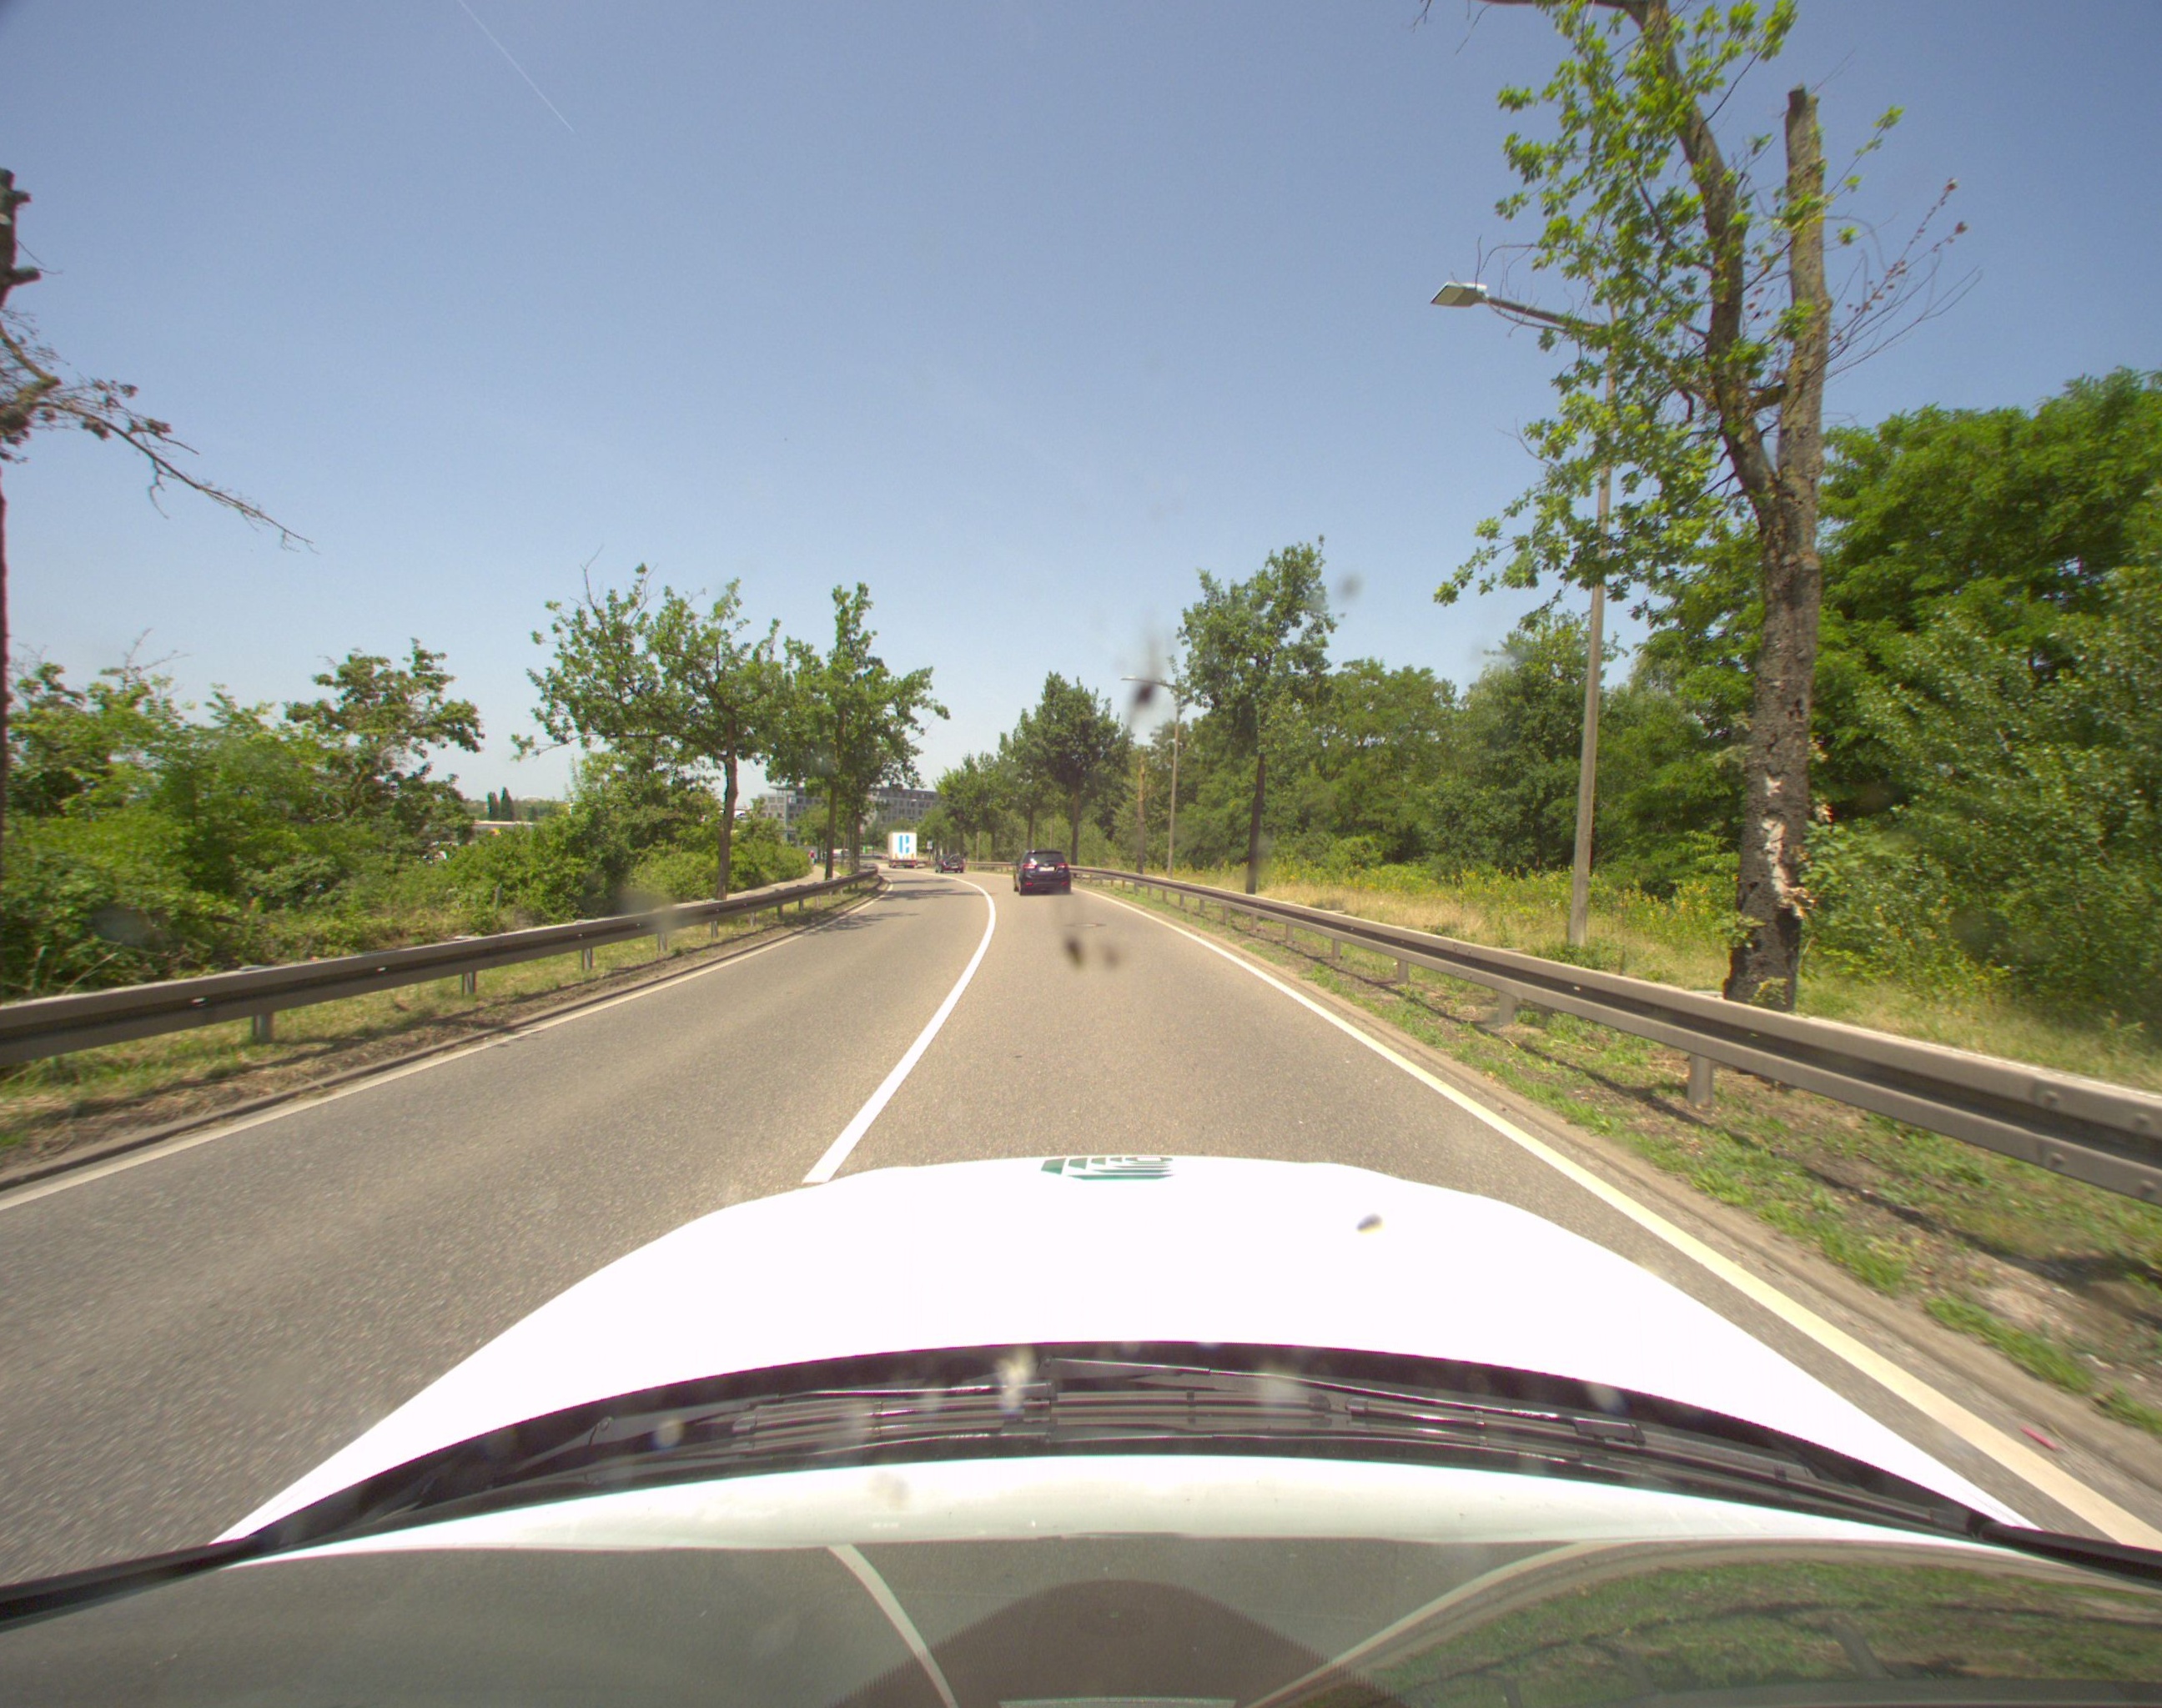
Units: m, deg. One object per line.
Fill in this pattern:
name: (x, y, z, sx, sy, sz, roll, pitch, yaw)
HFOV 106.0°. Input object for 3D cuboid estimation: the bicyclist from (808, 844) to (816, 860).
bicyclist: (-25.528, -0.174, 77.293, 0.745, 1.489, 0.751, 0, -1, -22)

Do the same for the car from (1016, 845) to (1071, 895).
car: (-1.408, 0.516, 29.147, 1.764, 1.599, 4.070, -1, 0, -5)

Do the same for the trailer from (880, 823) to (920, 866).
trailer: (-20.637, -1.144, 92.156, 3.086, 4.368, 14.689, 1, 1, -17)

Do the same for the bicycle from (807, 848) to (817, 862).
bicycle: (-25.539, 0.078, 77.305, 0.737, 1.281, 2.031, 0, -1, -22)

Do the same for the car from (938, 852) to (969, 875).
car: (-9.603, 0.696, 61.188, 1.959, 1.633, 4.260, 1, -1, -13)
